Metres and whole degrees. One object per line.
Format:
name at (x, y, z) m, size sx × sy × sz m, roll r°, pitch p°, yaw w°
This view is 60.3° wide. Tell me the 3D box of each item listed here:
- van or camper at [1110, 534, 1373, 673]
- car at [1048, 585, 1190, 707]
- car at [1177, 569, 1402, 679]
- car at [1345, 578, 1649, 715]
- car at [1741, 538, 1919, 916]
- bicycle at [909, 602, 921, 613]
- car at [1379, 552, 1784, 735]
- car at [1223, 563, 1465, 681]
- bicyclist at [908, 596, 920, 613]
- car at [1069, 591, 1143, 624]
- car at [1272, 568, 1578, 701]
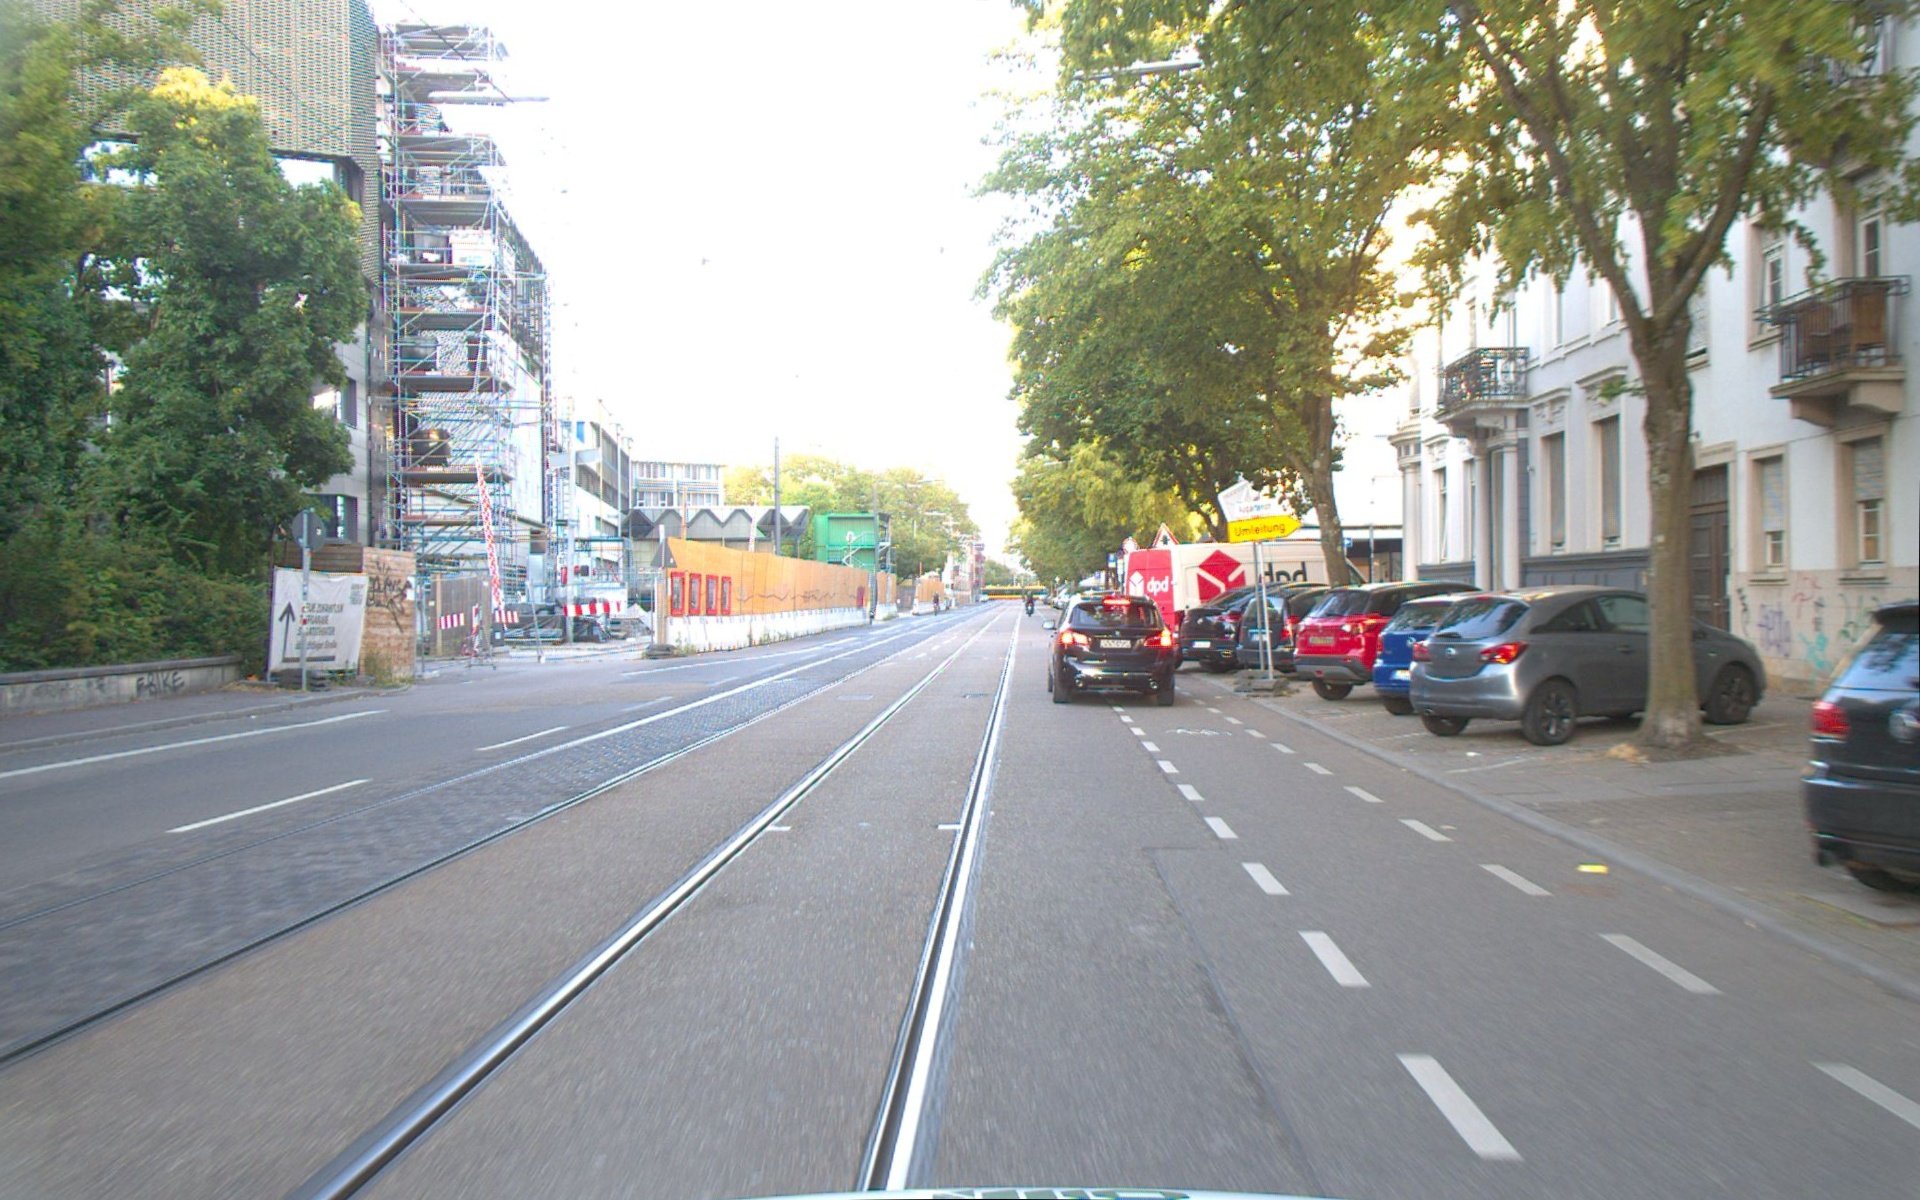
van or camper at (6.058, 0.044, 35.334) m, size 5.481 × 2.574 × 2.063 m, roll -4°, pitch 0°, yaw -33°
car at (2.327, 0.629, 25.100) m, size 1.843 × 1.648 × 4.001 m, roll 2°, pitch 0°, yaw 2°
car at (6.380, 0.446, 32.053) m, size 3.892 × 1.796 × 1.826 m, roll -4°, pitch 0°, yaw -25°
car at (6.667, 0.539, 20.442) m, size 3.606 × 1.470 × 1.641 m, roll -2°, pitch -1°, yaw -33°
car at (5.947, 0.448, 7.748) m, size 3.880 × 1.631 × 1.832 m, roll -3°, pitch 0°, yaw -17°
bicycle at (-3.763, 0.636, 137.806) m, size 0.928 × 0.864 × 2.696 m, roll -1°, pitch 0°, yaw -1°
car at (6.451, 0.413, 17.112) m, size 3.900 × 1.631 × 1.822 m, roll -2°, pitch -2°, yaw -30°
car at (6.921, 0.379, 29.837) m, size 3.892 × 1.796 × 1.826 m, roll -4°, pitch 0°, yaw -25°
bicyclist at (-3.788, 0.366, 137.025) m, size 0.925 × 1.369 × 1.111 m, roll -1°, pitch 0°, yaw -1°
car at (8.257, 0.420, 93.487) m, size 3.873 × 1.752 × 1.630 m, roll -1°, pitch 0°, yaw -12°
car at (6.602, 0.456, 23.490) m, size 3.891 × 1.631 × 1.826 m, roll -2°, pitch 0°, yaw -25°
